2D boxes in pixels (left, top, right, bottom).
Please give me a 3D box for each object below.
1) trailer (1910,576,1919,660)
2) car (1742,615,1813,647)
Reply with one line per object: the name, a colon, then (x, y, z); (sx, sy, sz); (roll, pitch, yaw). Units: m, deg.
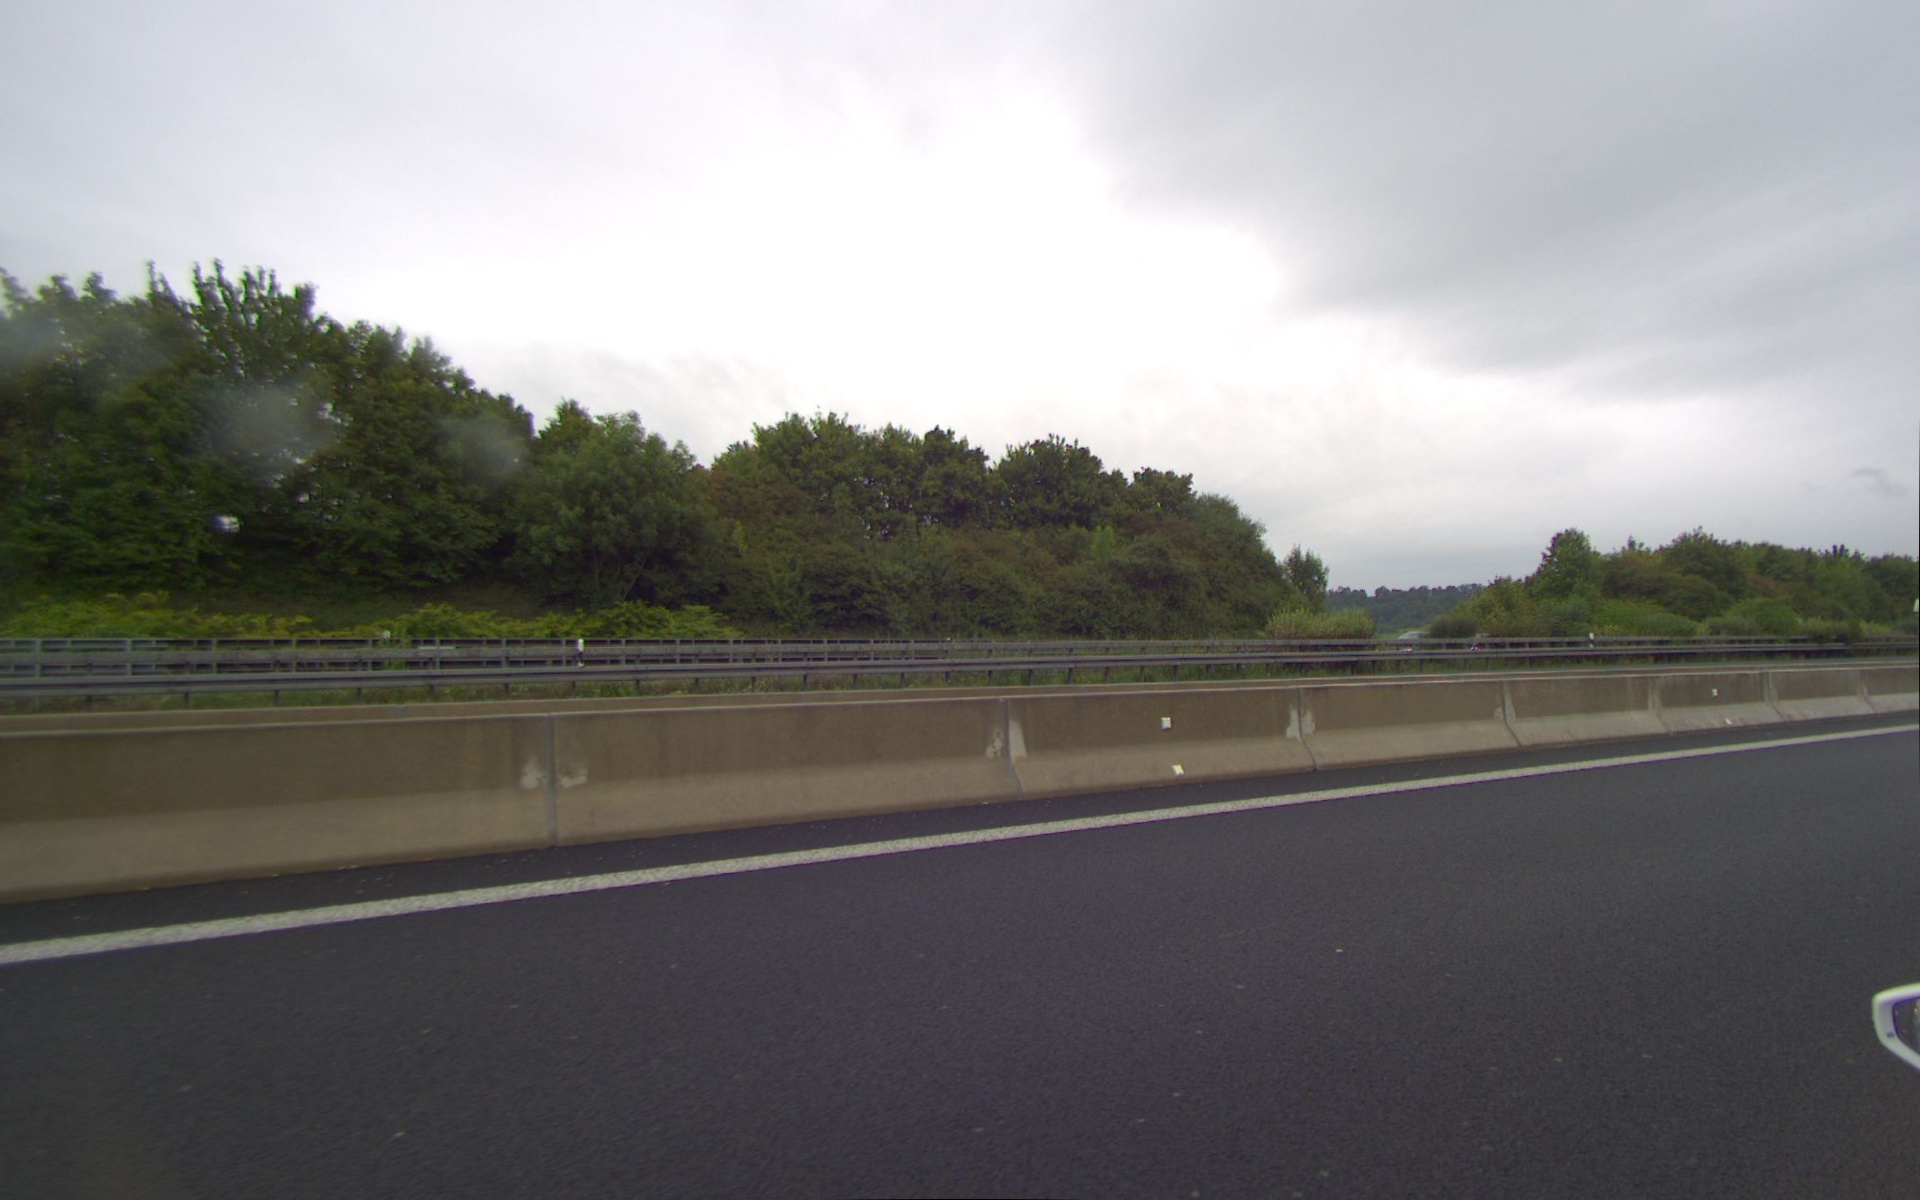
trailer: (46.556, 0.898, 45.944); (6.411, 3.765, 2.626); (2, -1, -28)
car: (55.036, 2.077, 67.593); (5.234, 2.040, 1.866); (2, -1, -29)
